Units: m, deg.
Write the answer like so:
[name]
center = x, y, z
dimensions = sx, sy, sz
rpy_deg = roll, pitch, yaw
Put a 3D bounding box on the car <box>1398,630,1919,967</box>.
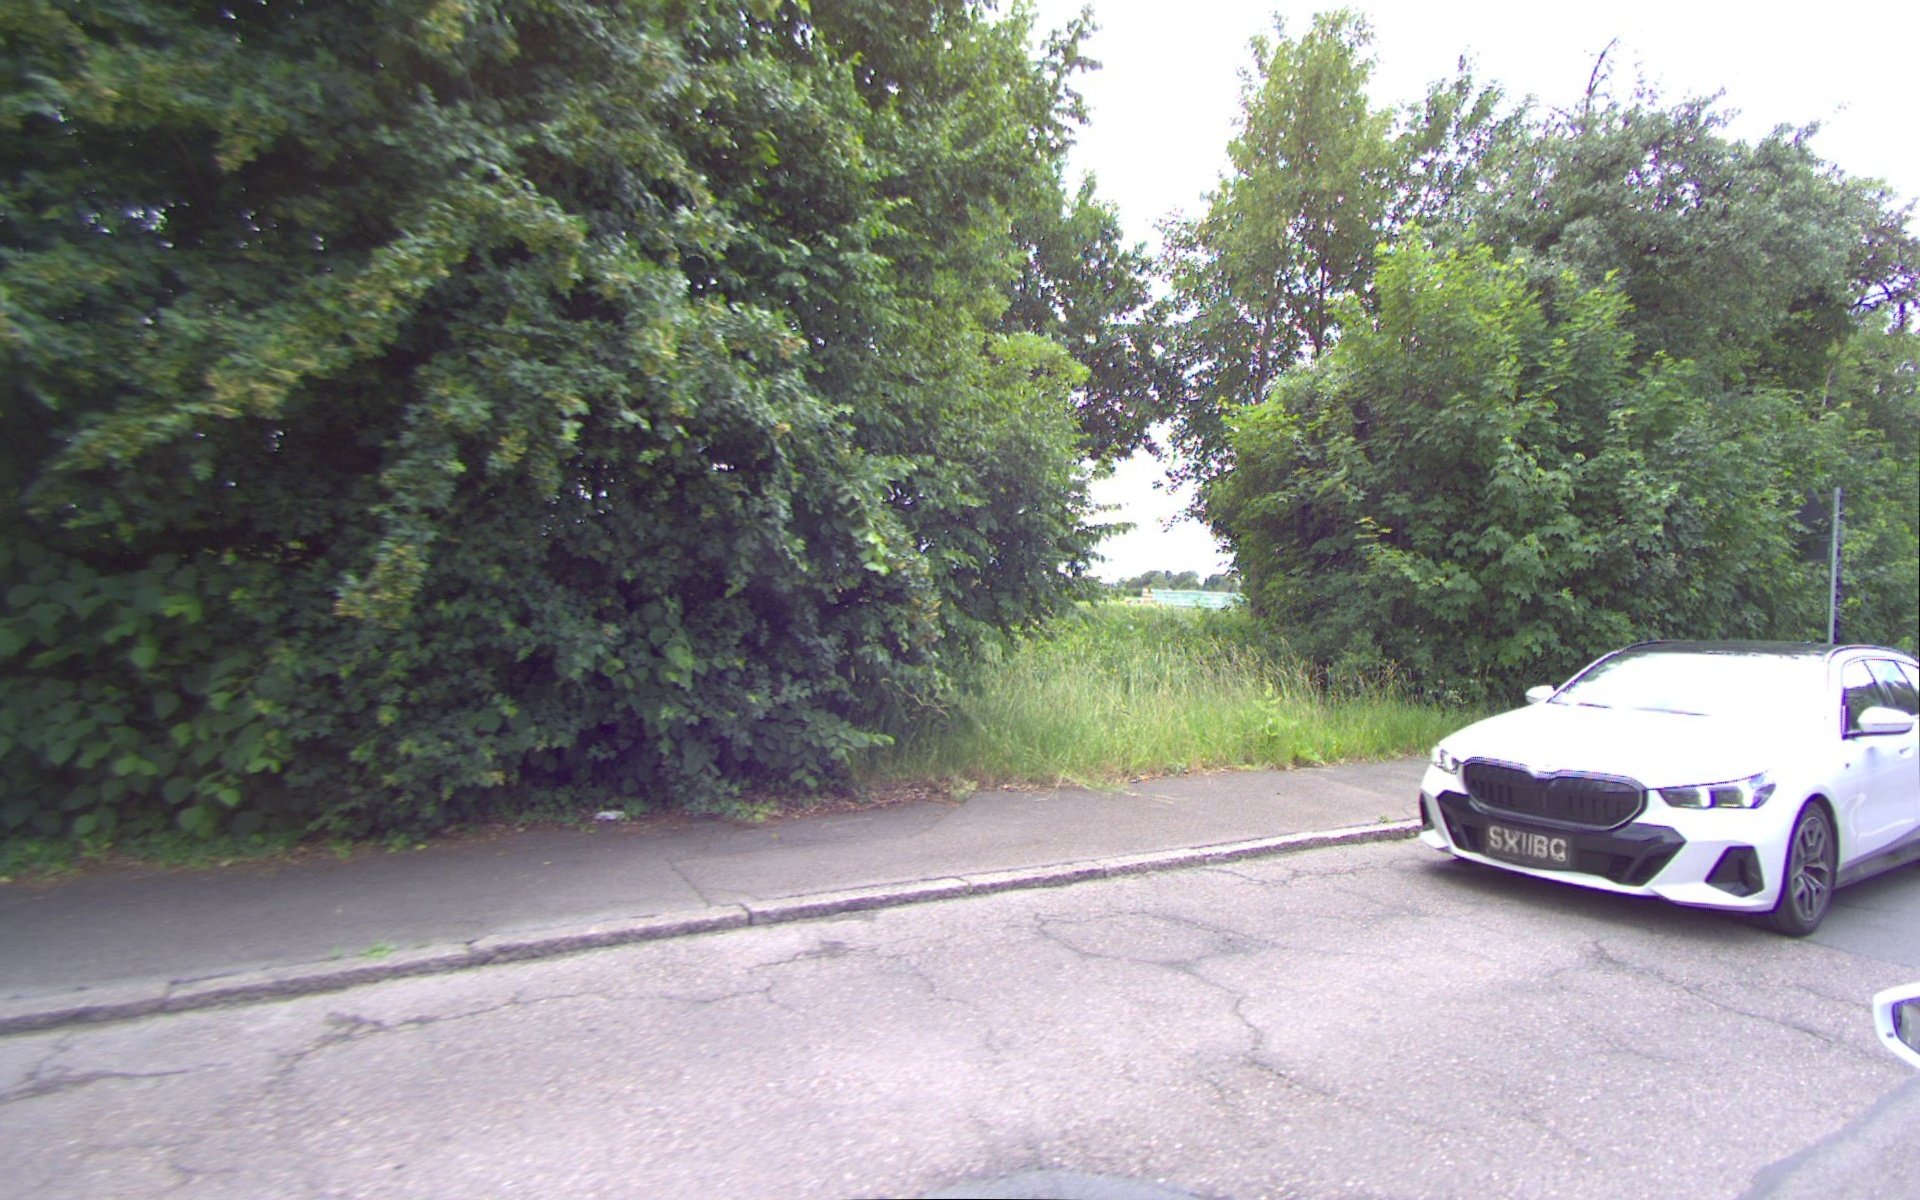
[car]
center = 5.169, 1.025, 6.744
dimensions = 4.610, 1.542, 1.918
rpy_deg = 3, -2, -34
